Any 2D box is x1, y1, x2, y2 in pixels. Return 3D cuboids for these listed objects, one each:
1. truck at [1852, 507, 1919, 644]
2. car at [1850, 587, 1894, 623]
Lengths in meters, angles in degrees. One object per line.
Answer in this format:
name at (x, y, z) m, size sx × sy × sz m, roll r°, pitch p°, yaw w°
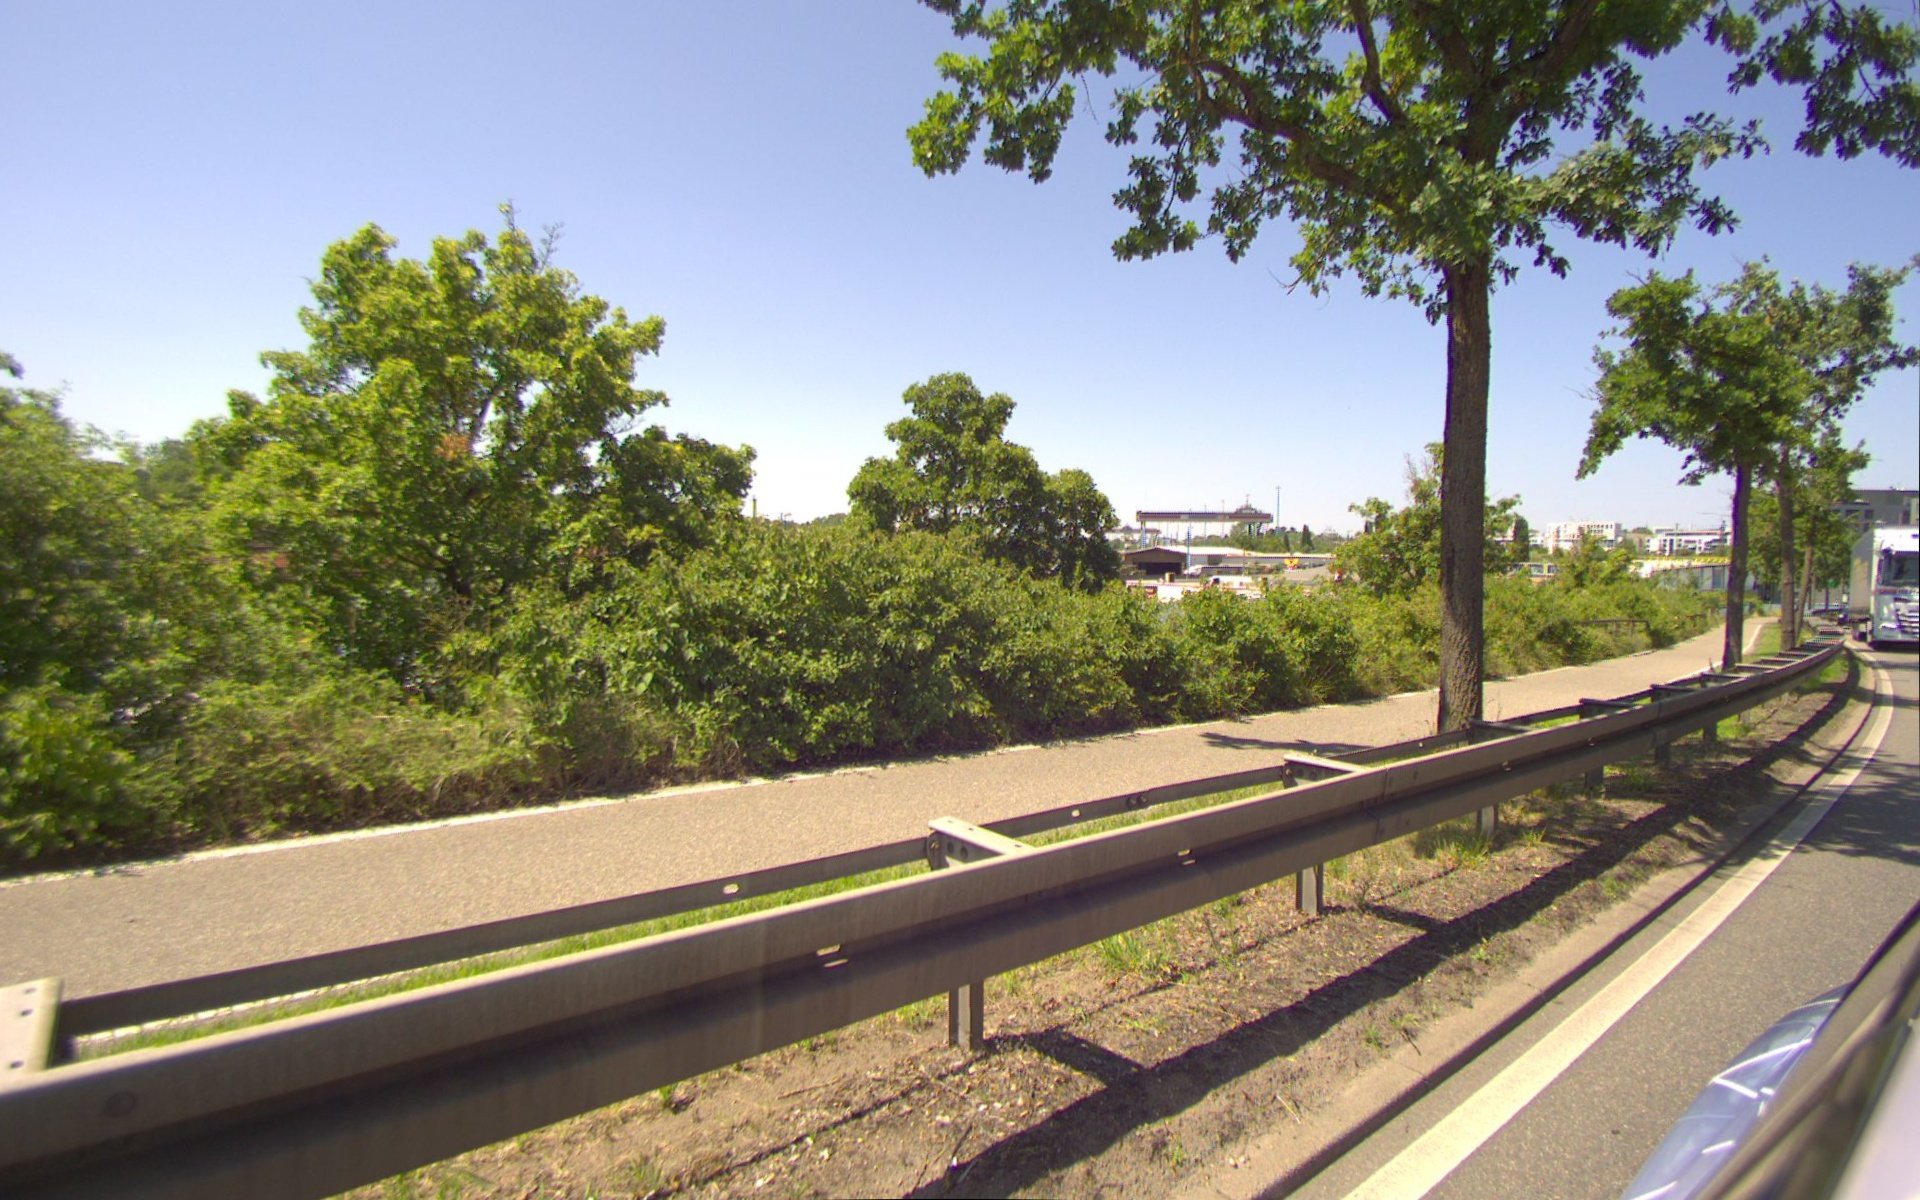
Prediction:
truck at (35.388, -0.809, 37.286) m, size 3.057 × 4.223 × 16.672 m, roll 0°, pitch 0°, yaw 39°
car at (53.401, 0.273, 59.312) m, size 1.773 × 2.039 × 3.941 m, roll 0°, pitch 0°, yaw 40°
